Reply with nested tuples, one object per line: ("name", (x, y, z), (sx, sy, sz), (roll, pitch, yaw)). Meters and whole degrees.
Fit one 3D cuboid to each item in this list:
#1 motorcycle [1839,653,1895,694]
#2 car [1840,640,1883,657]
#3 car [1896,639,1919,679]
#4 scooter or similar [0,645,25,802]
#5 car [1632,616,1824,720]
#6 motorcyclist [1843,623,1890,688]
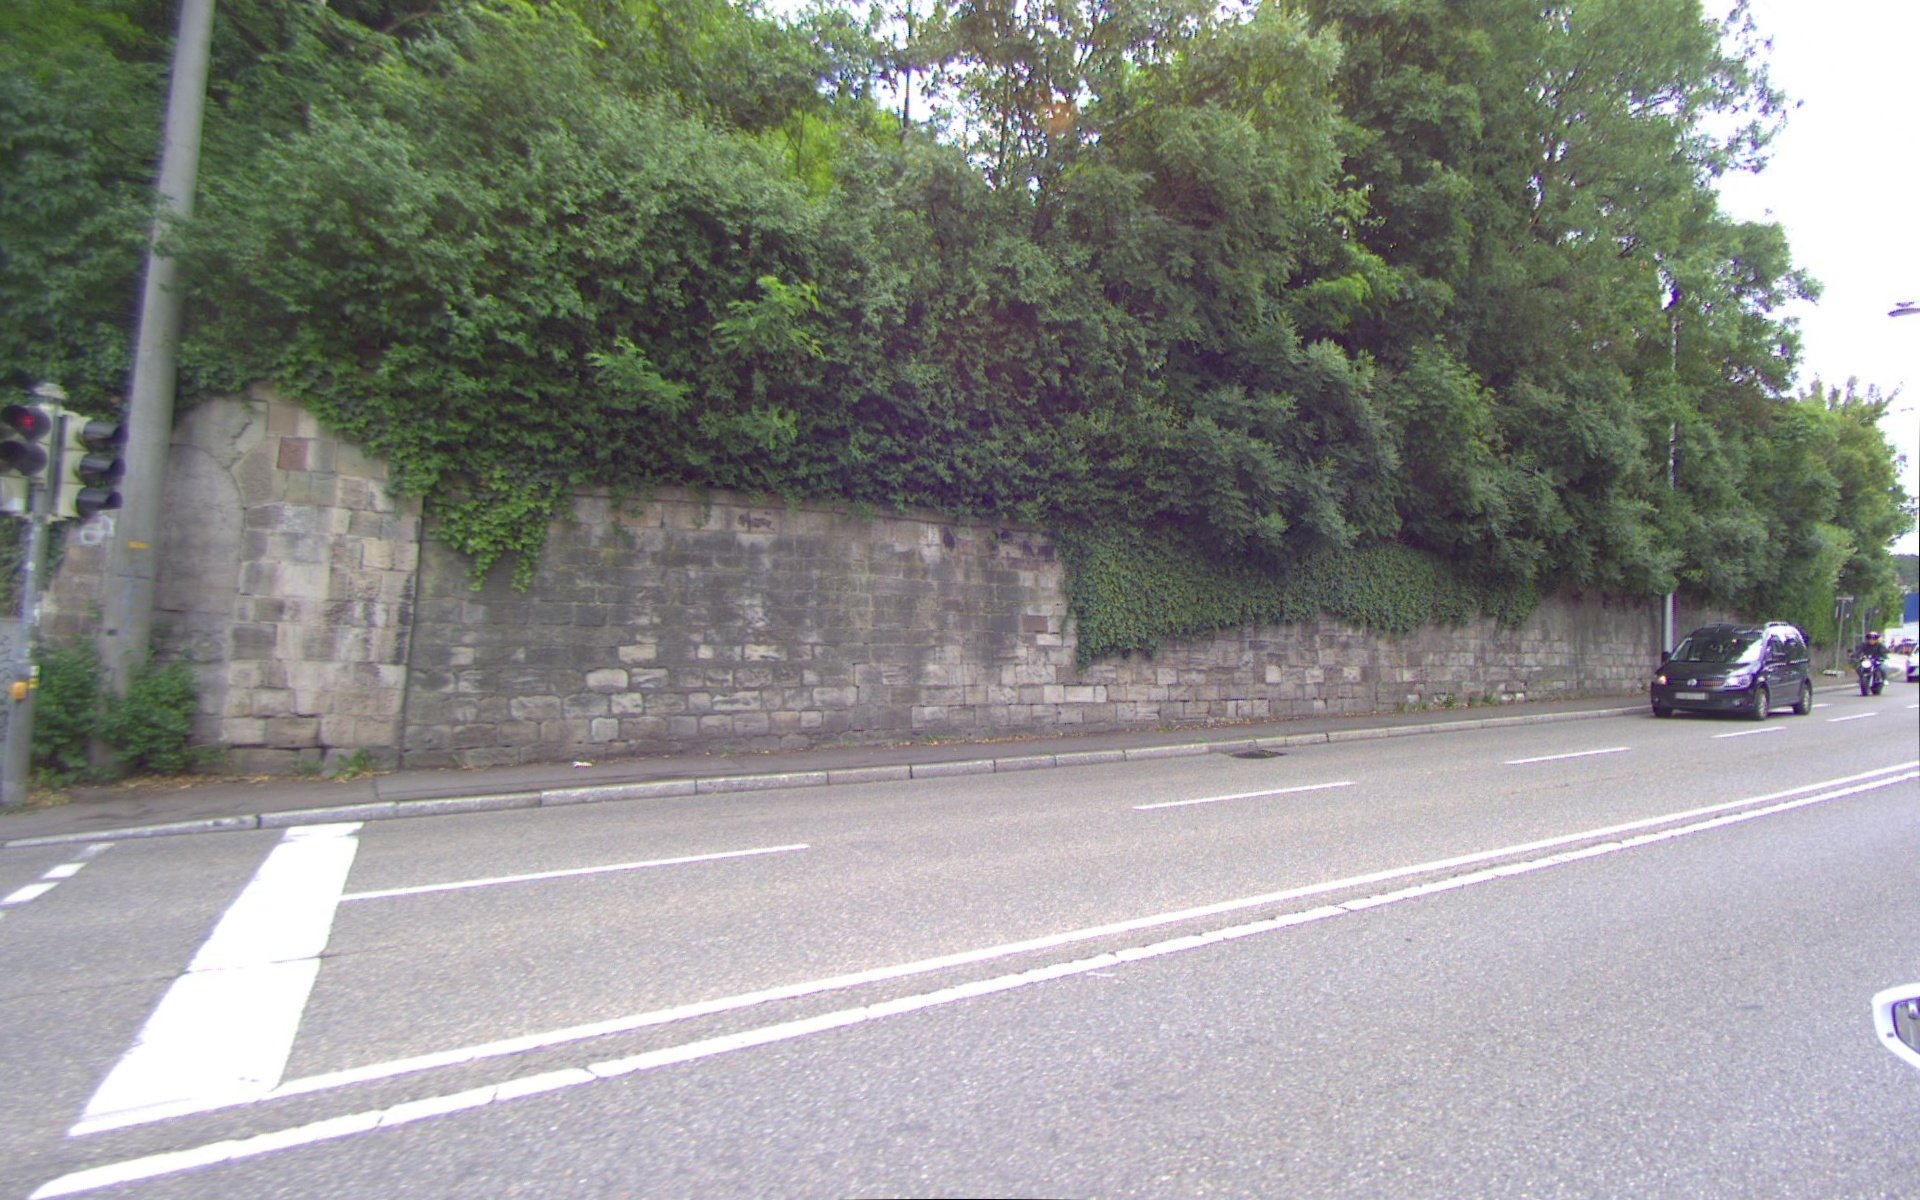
("motorcycle", (25.184, 2.025, 27.872), (2.285, 1.087, 0.646), (2, -3, -36))
("car", (74.197, 3.967, 82.734), (1.868, 1.400, 3.991), (-1, -2, 31))
("car", (36.766, 2.218, 37.854), (4.070, 1.485, 1.767), (3, -4, -42))
("scooter or similar", (-8.321, 0.990, 8.283), (1.076, 1.254, 0.434), (4, 2, 19))
("car", (15.356, 1.321, 20.042), (4.204, 1.869, 1.733), (2, -4, -34))
("motorcyclist", (25.007, 1.526, 27.718), (1.325, 1.727, 0.644), (2, -3, -35))
